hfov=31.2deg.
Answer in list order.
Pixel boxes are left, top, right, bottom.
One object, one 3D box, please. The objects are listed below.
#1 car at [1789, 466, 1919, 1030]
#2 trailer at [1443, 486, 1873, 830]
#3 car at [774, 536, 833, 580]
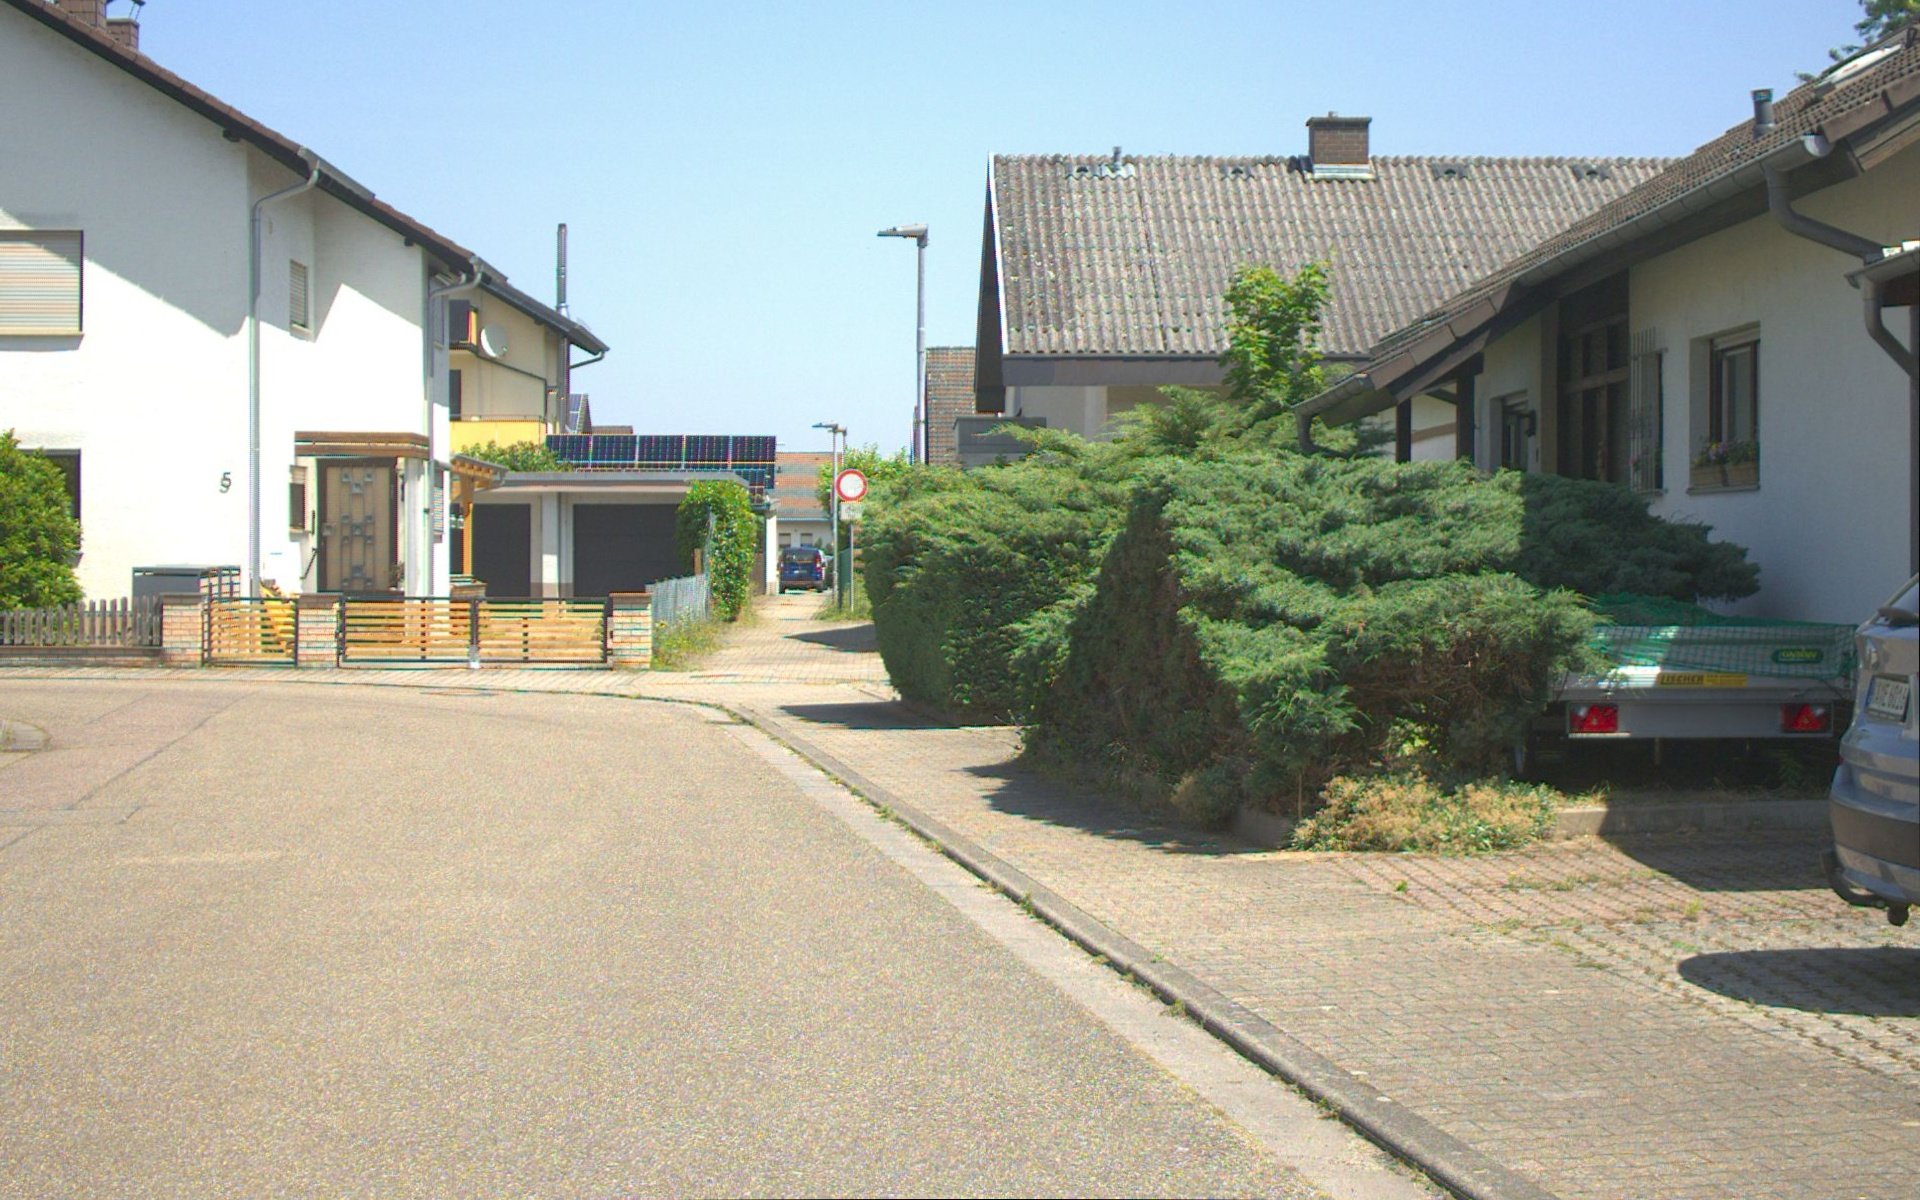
[{"bbox_3d":[5.206,0.376,11.104,4.627,1.696,1.709,-1,1,2],"label":"car"},{"bbox_3d":[3.688,0.244,18.662,1.587,1.666,3.297,-1,2,-1],"label":"trailer"},{"bbox_3d":[-6.205,-1.676,136.604,2.193,1.695,3.807,0,1,-1],"label":"car"}]
